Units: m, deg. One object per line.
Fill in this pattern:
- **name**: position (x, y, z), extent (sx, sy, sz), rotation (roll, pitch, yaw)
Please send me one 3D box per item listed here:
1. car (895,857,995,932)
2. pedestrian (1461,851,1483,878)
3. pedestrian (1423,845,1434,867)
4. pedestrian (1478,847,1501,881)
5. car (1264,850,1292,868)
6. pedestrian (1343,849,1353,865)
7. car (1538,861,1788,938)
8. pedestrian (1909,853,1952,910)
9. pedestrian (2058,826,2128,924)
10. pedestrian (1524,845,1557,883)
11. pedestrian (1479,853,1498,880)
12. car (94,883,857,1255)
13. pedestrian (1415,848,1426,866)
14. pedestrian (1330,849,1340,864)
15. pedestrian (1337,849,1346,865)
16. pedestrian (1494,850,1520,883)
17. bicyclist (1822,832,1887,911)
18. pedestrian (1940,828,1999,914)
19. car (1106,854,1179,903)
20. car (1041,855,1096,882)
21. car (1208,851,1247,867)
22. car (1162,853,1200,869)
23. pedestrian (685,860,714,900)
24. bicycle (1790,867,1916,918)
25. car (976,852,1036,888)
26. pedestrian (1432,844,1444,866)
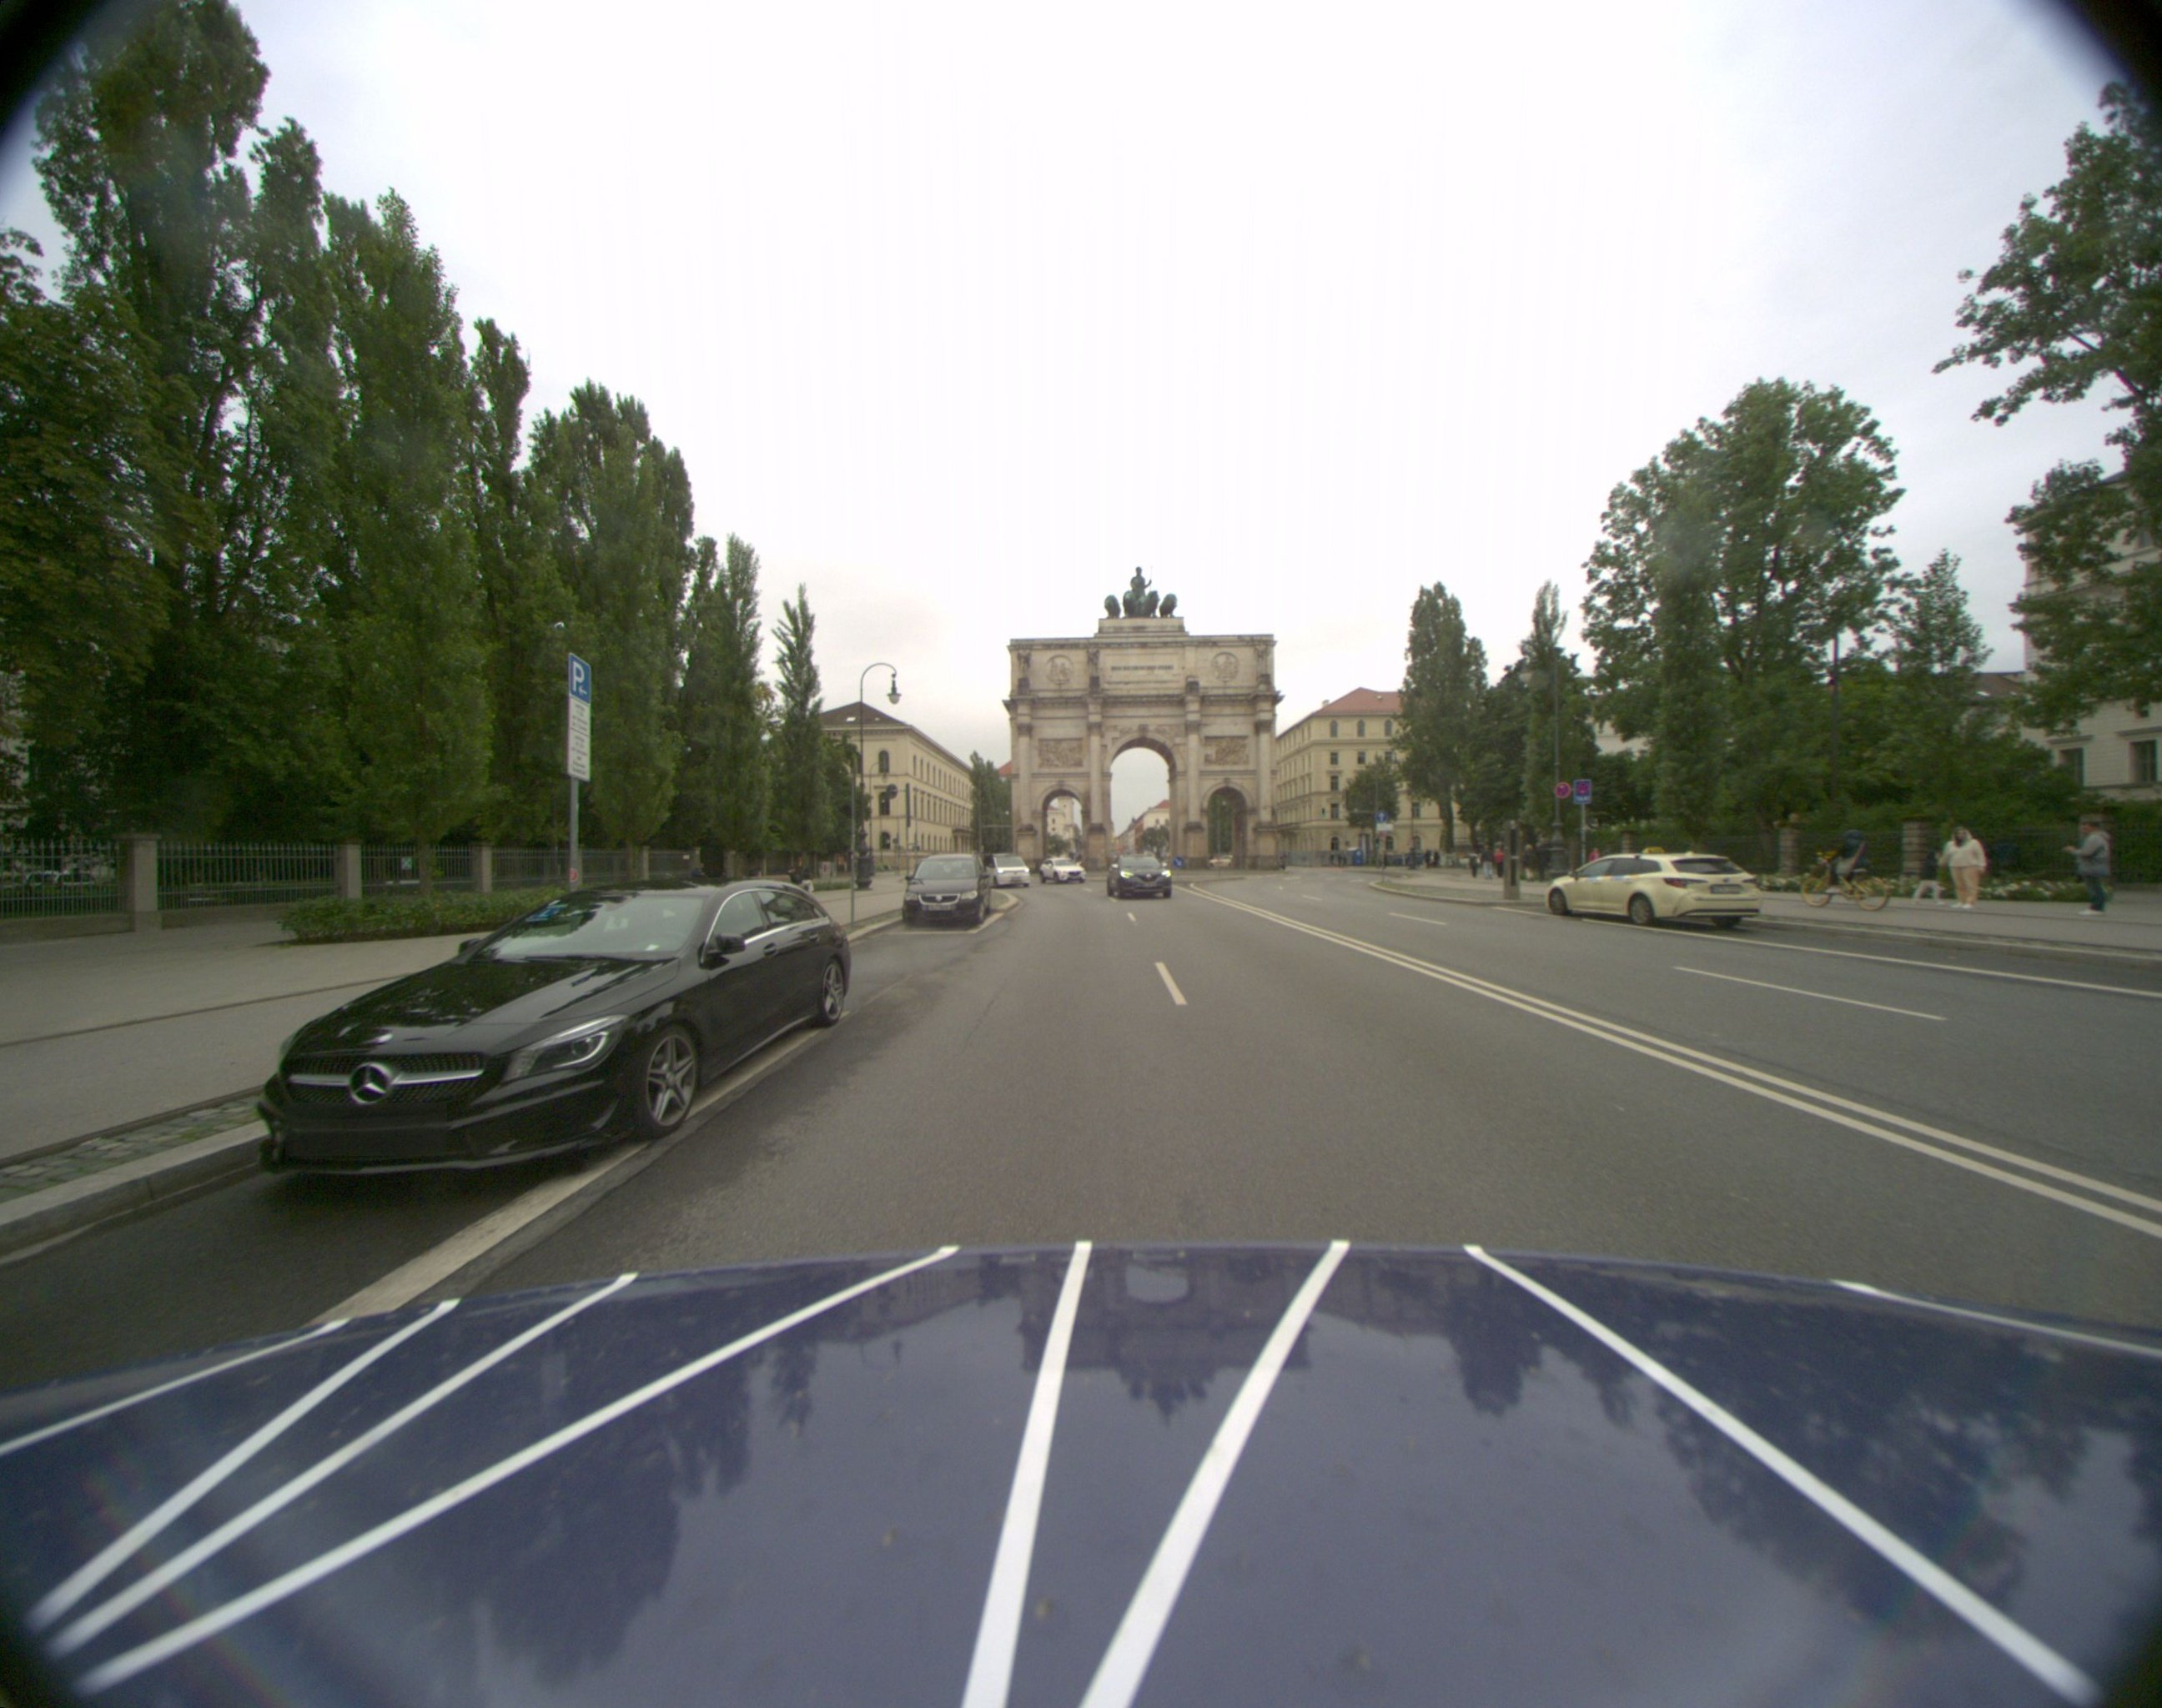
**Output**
- **car**: position (-3.195, 0.880, 18.674), extent (1.847, 1.597, 4.367), rotation (-1, 0, -3)
- **pedestrian**: position (22.999, 0.619, 44.699), extent (0.888, 1.508, 1.031), rotation (-2, 1, 12)
- **pedestrian**: position (32.183, 0.149, 70.387), extent (0.769, 2.002, 0.887), rotation (-1, 0, 11)
- **pedestrian**: position (21.163, 0.495, 39.385), extent (0.958, 1.708, 1.032), rotation (-2, 1, 24)
- **car**: position (20.680, 0.506, 79.890), extent (1.998, 1.805, 4.000), rotation (-1, 0, 1)
- **pedestrian**: position (30.703, 0.324, 87.355), extent (0.880, 1.812, 0.686), rotation (-1, 0, 11)
- **car**: position (11.799, 0.829, 15.880), extent (1.796, 1.329, 4.469), rotation (-1, 0, 0)
- **pedestrian**: position (18.305, 0.578, 16.380), extent (0.531, 1.204, 0.585), rotation (0, 1, 40)
- **pedestrian**: position (18.157, 0.371, 13.639), extent (0.533, 1.720, 0.583), rotation (-1, 0, -10)
- **pedestrian**: position (21.001, 0.448, 34.749), extent (0.959, 1.708, 1.031), rotation (-2, 1, 14)
- **pedestrian**: position (23.846, 0.725, 44.487), extent (0.728, 1.508, 0.842), rotation (-2, 1, 12)
- **car**: position (-3.218, 1.000, 5.435), extent (1.846, 1.383, 4.438), rotation (-1, 0, 1)
- **pedestrian**: position (33.506, 0.299, 75.045), extent (0.880, 1.812, 0.686), rotation (-1, 0, 11)
- **pedestrian**: position (30.887, 0.282, 92.468), extent (1.031, 1.812, 0.882), rotation (-1, 0, 9)
- **pedestrian**: position (29.833, 0.362, 86.910), extent (0.880, 1.812, 0.686), rotation (-1, 0, 11)
- **pedestrian**: position (24.757, 0.692, 44.171), extent (0.990, 1.860, 1.031), rotation (-2, 1, 12)
- **bicyclist**: position (16.017, 0.363, 15.746), extent (0.647, 1.582, 0.661), rotation (-2, 0, 0)
- **pedestrian**: position (18.011, 0.338, 15.409), extent (0.533, 1.720, 0.583), rotation (-1, 0, -10)
- **car**: position (2.144, 0.836, 27.773), extent (1.841, 1.576, 4.183), rotation (-2, 0, -7)
- **car**: position (-0.801, 0.843, 46.018), extent (1.913, 1.516, 4.001), rotation (-1, 0, -23)
- **car**: position (16.474, 0.600, 85.667), extent (2.004, 1.739, 3.989), rotation (-1, 0, -38)
- **car**: position (11.666, 0.805, 88.494), extent (2.004, 1.739, 3.989), rotation (-1, 0, -45)
- **pedestrian**: position (-17.347, 1.173, 34.566), extent (0.812, 1.761, 0.884), rotation (-1, 0, 0)
- **bicycle**: position (16.043, 0.767, 15.861), extent (0.674, 0.947, 1.914), rotation (-2, 0, 1)
- **car**: position (-4.466, 0.905, 44.400), extent (2.067, 1.916, 5.719), rotation (-2, 0, -20)
- **pedestrian**: position (32.971, 0.122, 70.238), extent (0.769, 2.002, 0.887), rotation (-1, 0, 11)
